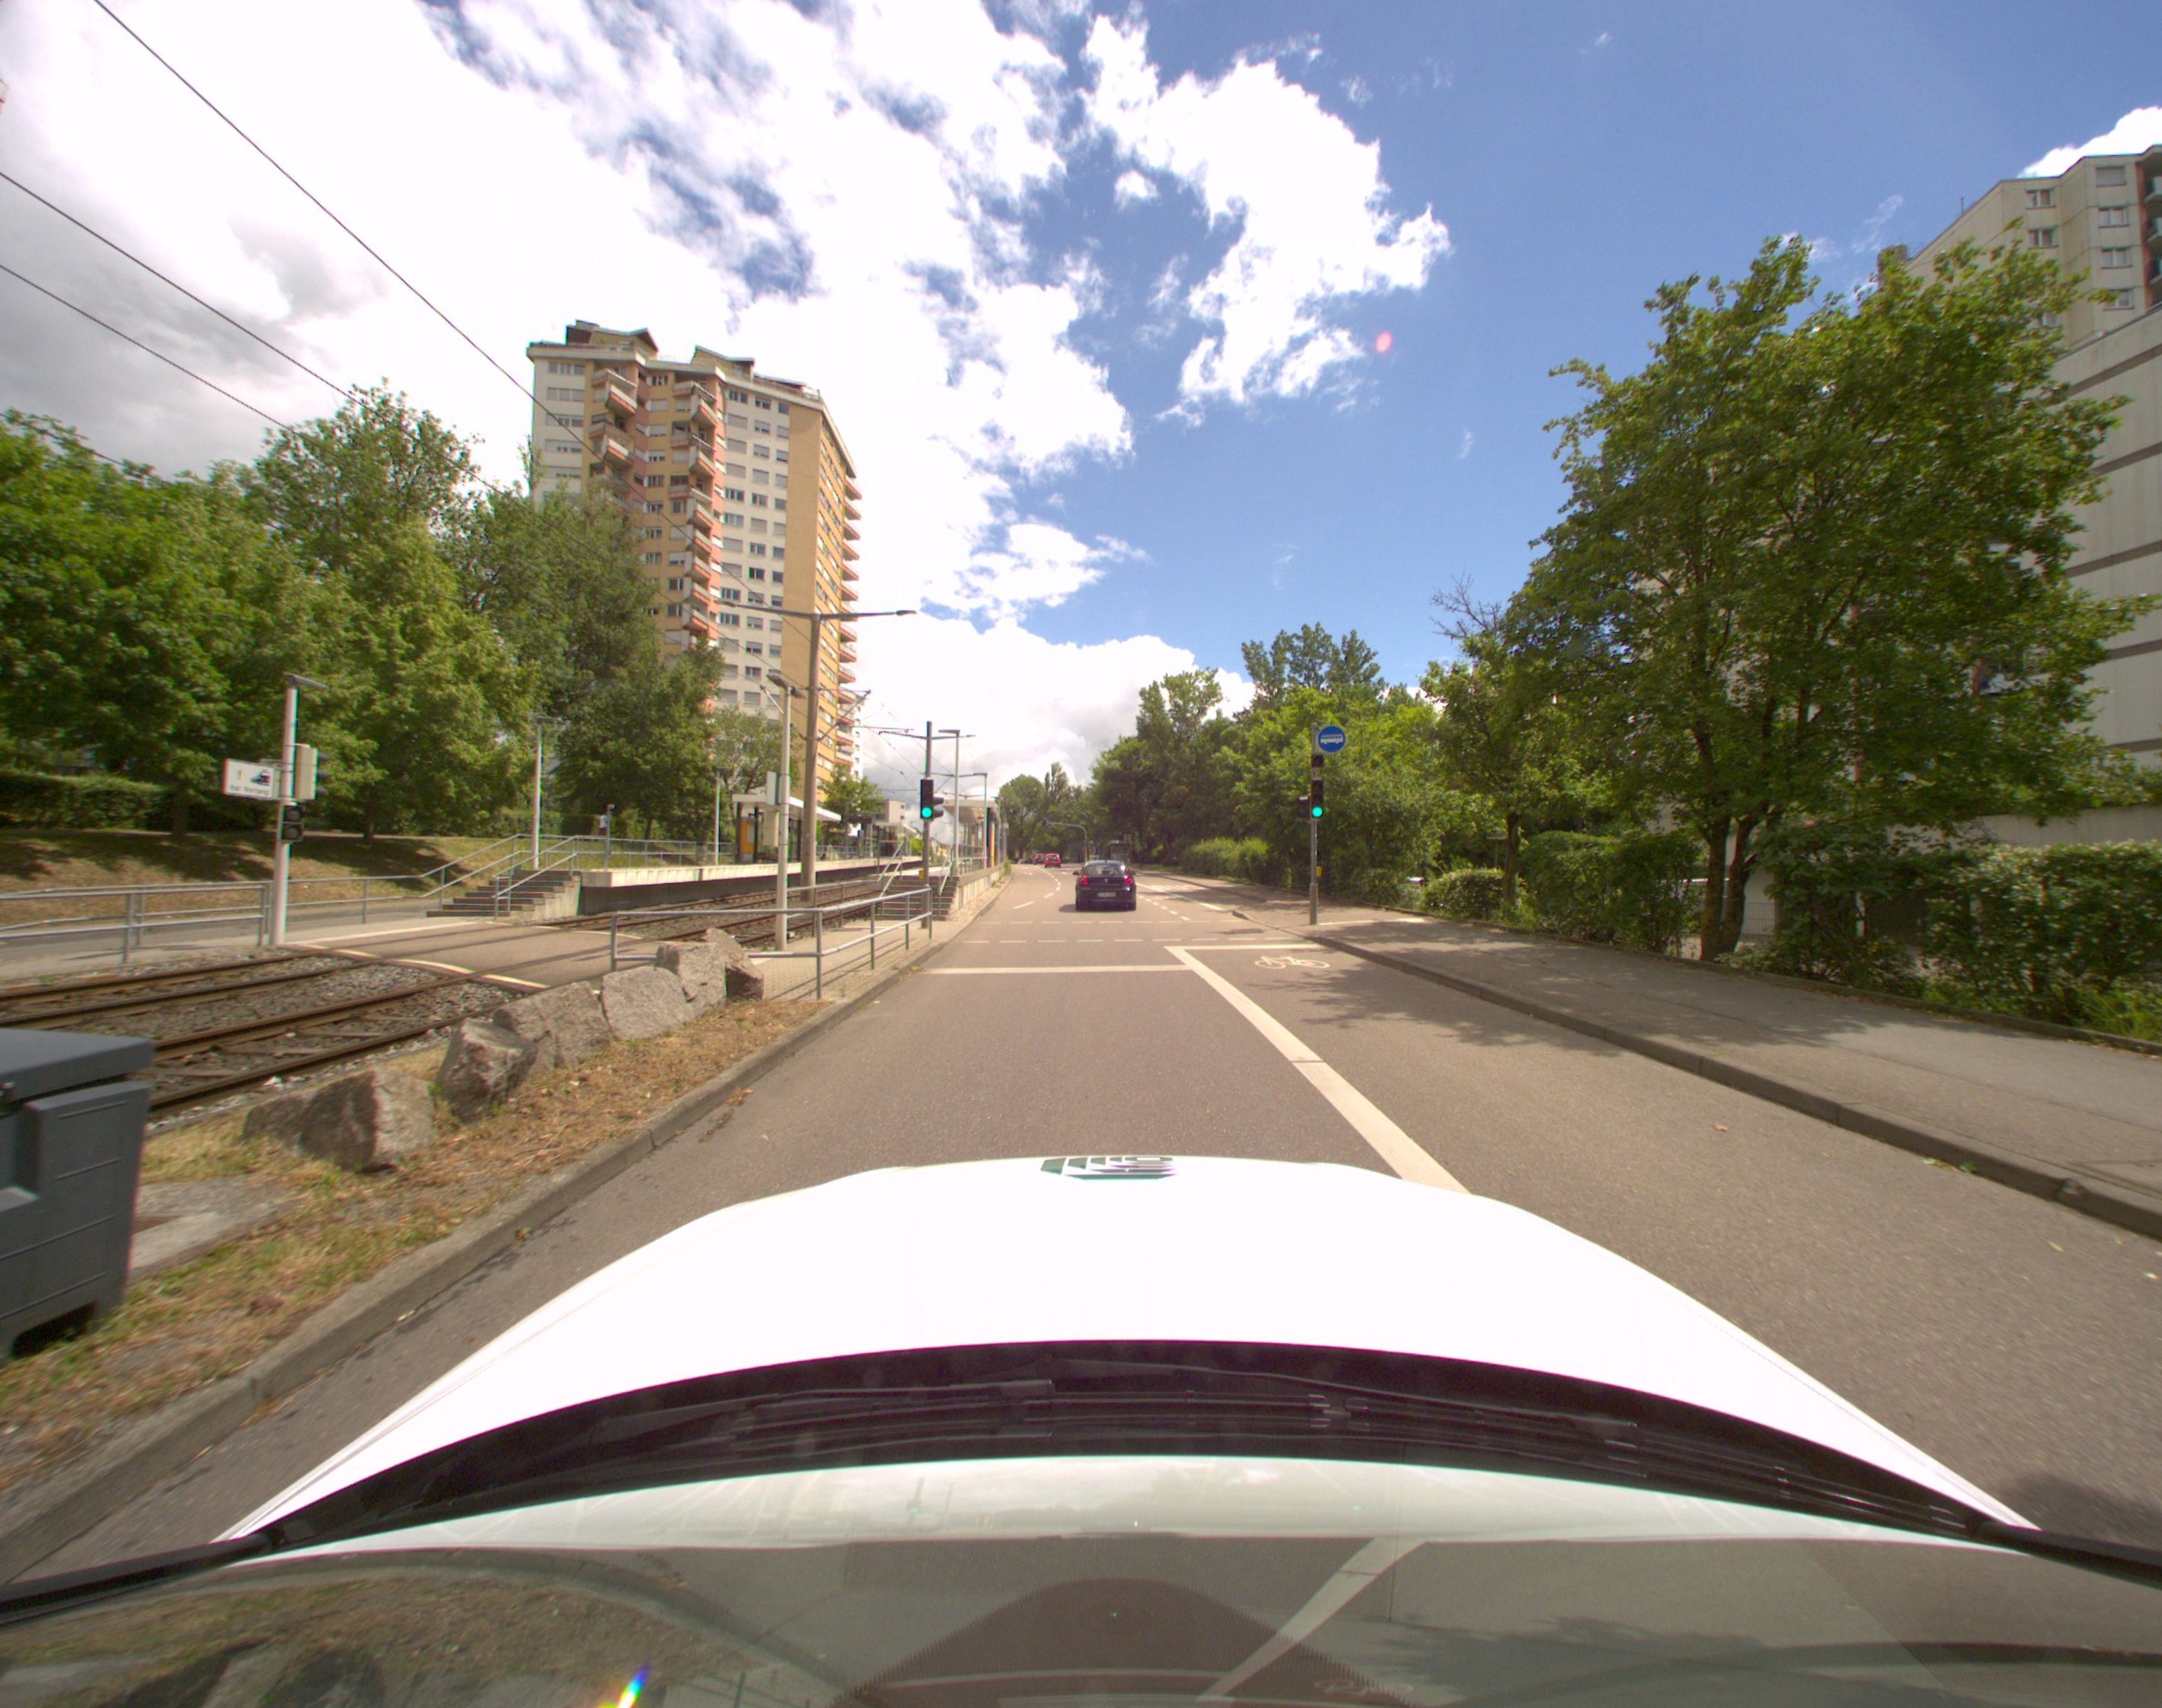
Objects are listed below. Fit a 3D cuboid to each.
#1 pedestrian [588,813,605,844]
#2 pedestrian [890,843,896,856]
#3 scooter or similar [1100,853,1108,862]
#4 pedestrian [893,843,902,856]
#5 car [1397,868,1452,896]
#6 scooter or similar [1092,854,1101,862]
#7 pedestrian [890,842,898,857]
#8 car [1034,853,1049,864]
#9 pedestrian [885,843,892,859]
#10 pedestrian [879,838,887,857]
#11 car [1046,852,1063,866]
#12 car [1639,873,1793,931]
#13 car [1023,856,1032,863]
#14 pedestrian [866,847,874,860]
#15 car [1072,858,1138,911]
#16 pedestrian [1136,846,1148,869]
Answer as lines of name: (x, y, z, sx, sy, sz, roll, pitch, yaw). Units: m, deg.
pedestrian: (-26.828, -1.409, 45.129, 0.649, 1.712, 0.503, -1, 0, -5)
pedestrian: (-17.217, -0.401, 74.622, 0.521, 1.236, 0.540, 0, 0, -17)
scooter or similar: (3.456, 0.497, 120.751, 1.109, 1.258, 0.330, 0, 0, -17)
pedestrian: (-17.280, -0.403, 76.727, 0.741, 1.236, 0.517, 0, 0, -5)
car: (21.405, 1.706, 50.881, 1.817, 1.618, 4.001, 1, 0, 1)
scooter or similar: (2.218, 0.547, 119.809, 1.293, 1.189, 0.382, 0, 0, -21)
pedestrian: (-17.359, -0.449, 75.702, 0.642, 1.369, 0.506, 0, 0, -5)
car: (-5.203, 0.544, 106.424, 1.653, 1.419, 3.508, 0, 0, -7)
pedestrian: (-16.991, -0.284, 71.921, 0.542, 1.380, 0.519, 0, -3, -14)
pedestrian: (-17.300, -0.542, 71.193, 0.524, 1.644, 0.558, 0, -1, -38)
car: (-2.826, 0.559, 85.330, 1.592, 1.419, 3.511, 0, 0, -4)
car: (22.522, 1.700, 29.006, 3.970, 1.892, 1.792, -2, -3, 3)
car: (-10.485, 1.060, 159.437, 1.650, 1.419, 3.515, 0, 0, -1)
pedestrian: (-27.867, -0.079, 107.614, 0.853, 1.696, 0.690, 0, -1, 5)
car: (0.637, 0.829, 23.848, 1.651, 1.419, 3.512, 0, 0, -3)
pedestrian: (5.237, 0.303, 70.292, 0.800, 1.895, 1.268, 1, -1, -4)
